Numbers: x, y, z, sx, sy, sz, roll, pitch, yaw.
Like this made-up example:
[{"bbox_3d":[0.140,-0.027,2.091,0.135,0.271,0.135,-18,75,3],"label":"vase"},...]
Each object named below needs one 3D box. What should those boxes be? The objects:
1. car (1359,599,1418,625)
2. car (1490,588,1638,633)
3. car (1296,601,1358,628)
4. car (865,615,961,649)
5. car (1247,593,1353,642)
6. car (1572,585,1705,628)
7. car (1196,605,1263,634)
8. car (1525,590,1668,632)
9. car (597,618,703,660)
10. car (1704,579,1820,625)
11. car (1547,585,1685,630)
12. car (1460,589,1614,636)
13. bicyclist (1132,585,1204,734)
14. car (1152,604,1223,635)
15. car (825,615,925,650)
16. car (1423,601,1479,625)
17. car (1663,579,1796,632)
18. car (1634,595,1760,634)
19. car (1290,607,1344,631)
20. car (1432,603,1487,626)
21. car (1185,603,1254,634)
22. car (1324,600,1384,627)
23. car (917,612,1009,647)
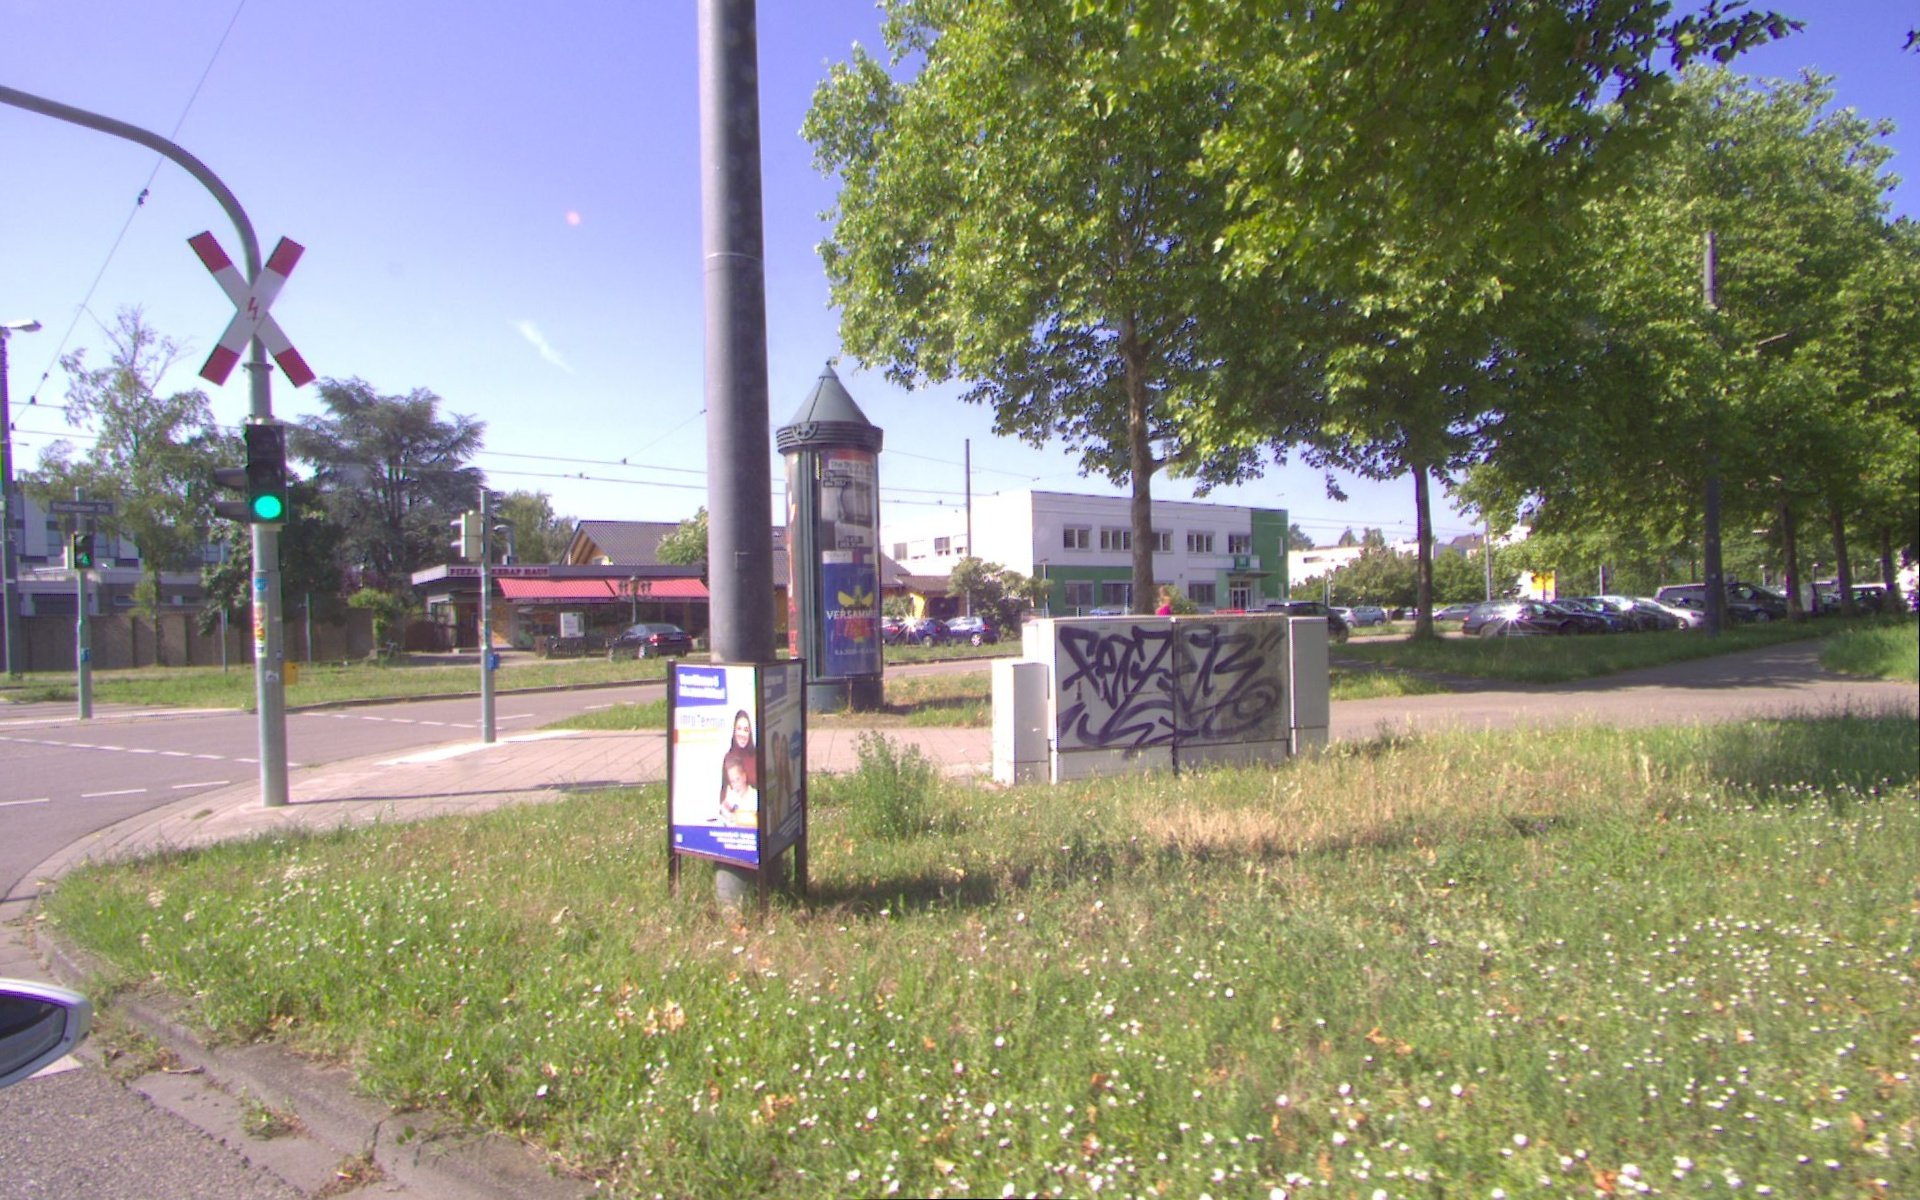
[{"bbox_3d":[31.548,0.911,73.755,3.934,1.816,1.995,-1,-2,24],"label":"car"},{"bbox_3d":[21.907,0.405,36.405,4.310,1.510,1.982,-2,-1,44],"label":"car"},{"bbox_3d":[25.871,1.050,70.544,3.934,1.816,1.995,-1,-2,24],"label":"car"},{"bbox_3d":[-2.289,1.547,48.635,4.139,1.518,2.136,-2,-2,26],"label":"car"},{"bbox_3d":[12.327,0.630,36.184,3.953,1.676,1.780,1,-1,-38],"label":"car"},{"bbox_3d":[28.057,0.302,41.485,4.310,1.654,1.982,-2,-1,44],"label":"car"},{"bbox_3d":[17.501,1.279,65.107,3.934,1.816,1.995,-1,-2,24],"label":"car"},{"bbox_3d":[24.211,0.435,38.158,4.310,1.510,1.982,-2,-1,44],"label":"car"},{"bbox_3d":[-12.600,1.586,40.516,2.121,1.518,5.074,-1,-2,-43],"label":"car"},{"bbox_3d":[41.644,0.121,52.045,4.542,2.238,1.982,-2,-1,44],"label":"car"},{"bbox_3d":[26.127,0.345,39.954,4.310,1.654,1.982,-2,-2,44],"label":"car"},{"bbox_3d":[20.010,0.458,34.821,4.310,1.510,1.982,-3,-1,44],"label":"car"},{"bbox_3d":[2.619,0.732,12.567,0.796,1.810,0.701,-1,0,18],"label":"bicyclist"},{"bbox_3d":[13.926,1.206,61.345,3.934,1.816,1.995,-1,-2,24],"label":"car"},{"bbox_3d":[-3.961,1.500,46.714,4.139,1.518,2.136,-2,-2,26],"label":"car"},{"bbox_3d":[39.437,1.088,80.514,3.934,1.816,1.995,-1,-2,24],"label":"car"},{"bbox_3d":[35.339,0.282,46.077,1.978,2.319,4.551,-1,-1,-41],"label":"car"},{"bbox_3d":[32.807,0.656,44.641,4.310,1.654,1.982,-2,-1,44],"label":"car"},{"bbox_3d":[24.144,1.303,67.830,3.384,1.556,1.565,-2,0,18],"label":"car"},{"bbox_3d":[41.352,1.220,82.938,3.934,1.816,1.995,-1,-2,24],"label":"car"},{"bbox_3d":[16.315,1.183,63.038,3.934,1.816,1.995,-1,-2,24],"label":"car"},{"bbox_3d":[28.305,0.973,71.897,3.934,1.816,1.995,-1,-2,24],"label":"car"},{"bbox_3d":[0.155,1.492,50.499,4.139,1.640,2.136,-2,-1,26],"label":"car"}]
